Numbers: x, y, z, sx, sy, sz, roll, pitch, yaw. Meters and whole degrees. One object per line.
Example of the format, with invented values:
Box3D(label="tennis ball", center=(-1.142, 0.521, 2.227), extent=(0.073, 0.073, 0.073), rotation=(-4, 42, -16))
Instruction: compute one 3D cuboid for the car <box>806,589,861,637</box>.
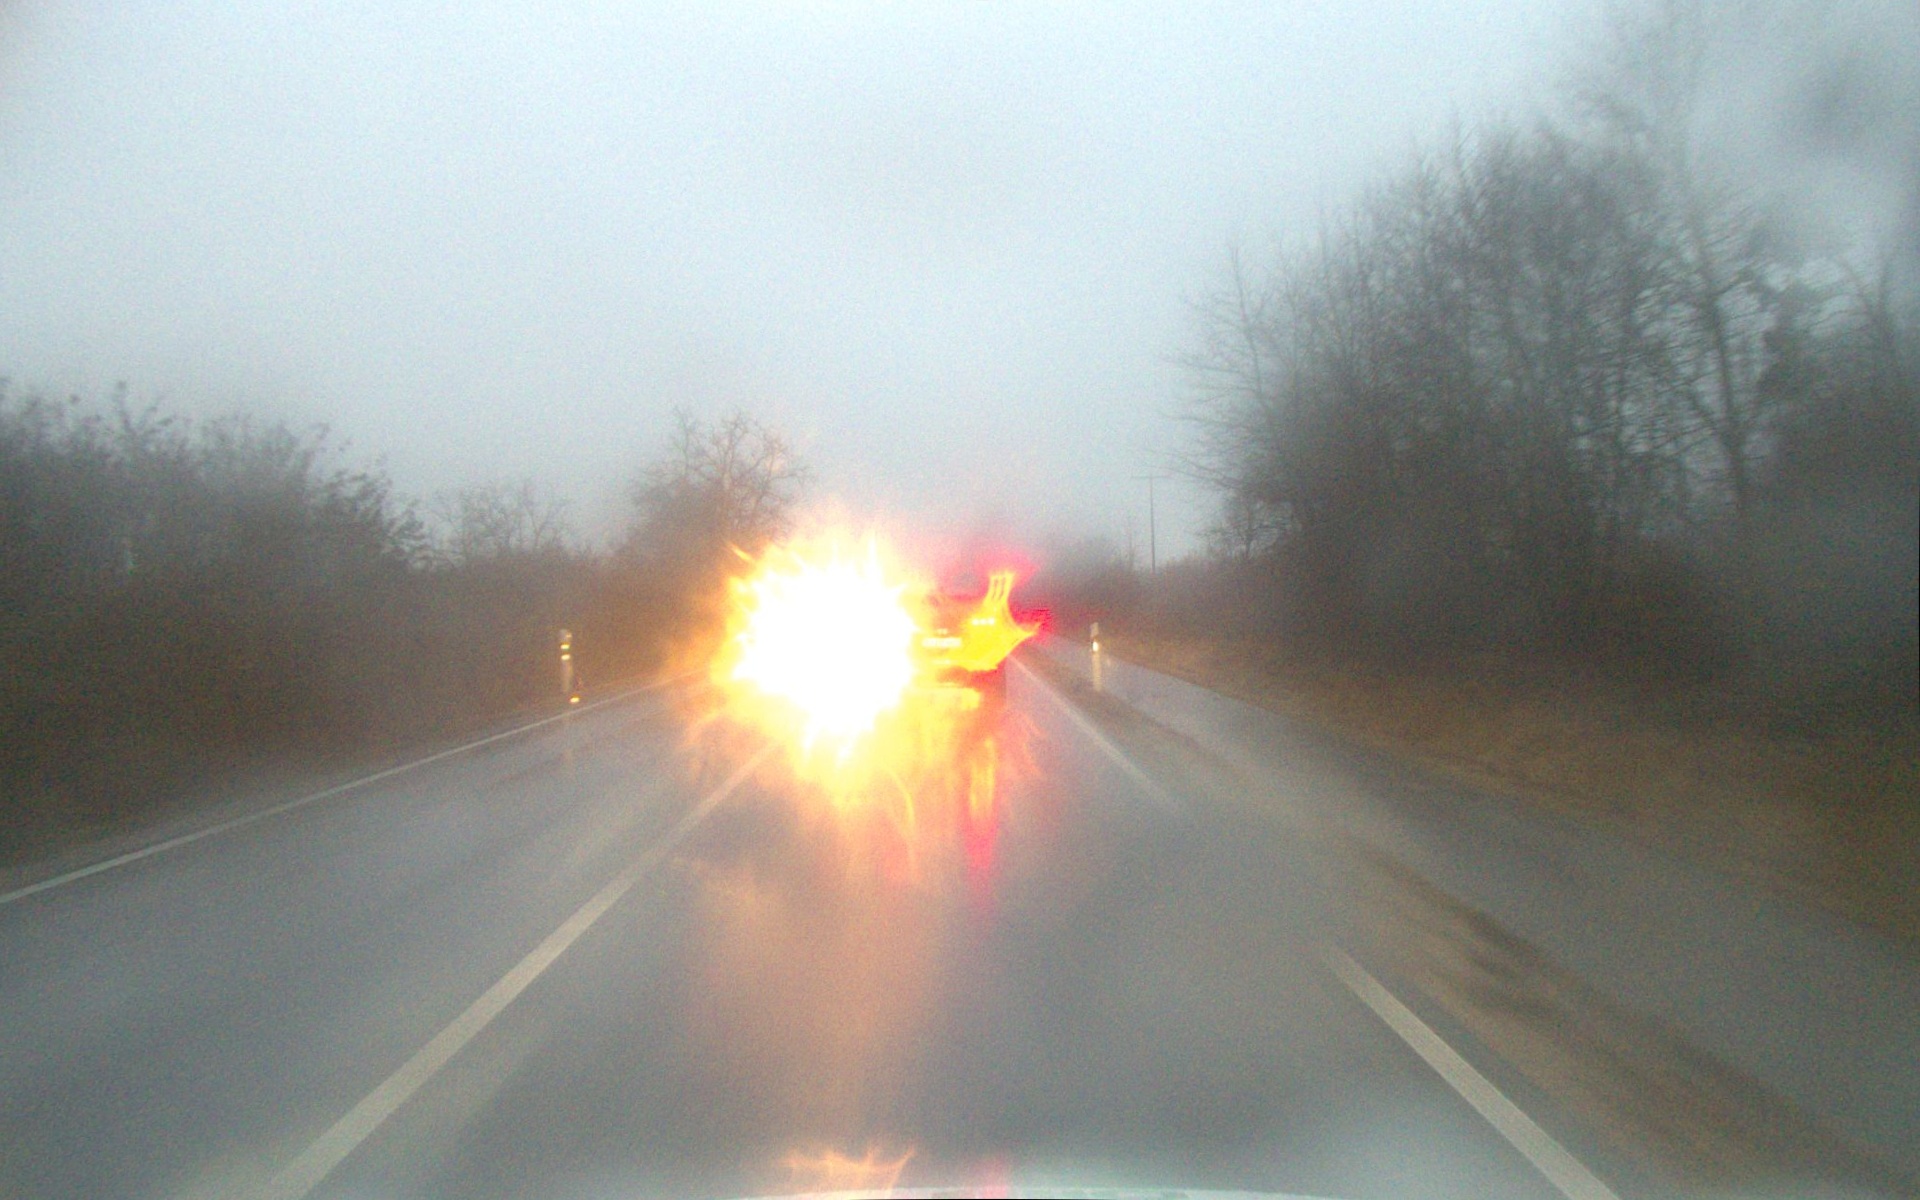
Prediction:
Box3D(label="car", center=(-4.255, 0.426, 56.018), extent=(1.599, 1.482, 3.981), rotation=(-2, 0, -1))

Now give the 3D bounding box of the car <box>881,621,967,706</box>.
Box3D(label="car", center=(-0.850, 1.490, 40.009), extent=(1.953, 1.881, 3.999), rotation=(1, 0, -1))

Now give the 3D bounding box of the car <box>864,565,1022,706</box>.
Box3D(label="car", center=(-0.251, 0.457, 24.284), extent=(2.077, 1.852, 4.979), rotation=(0, 0, -1))
